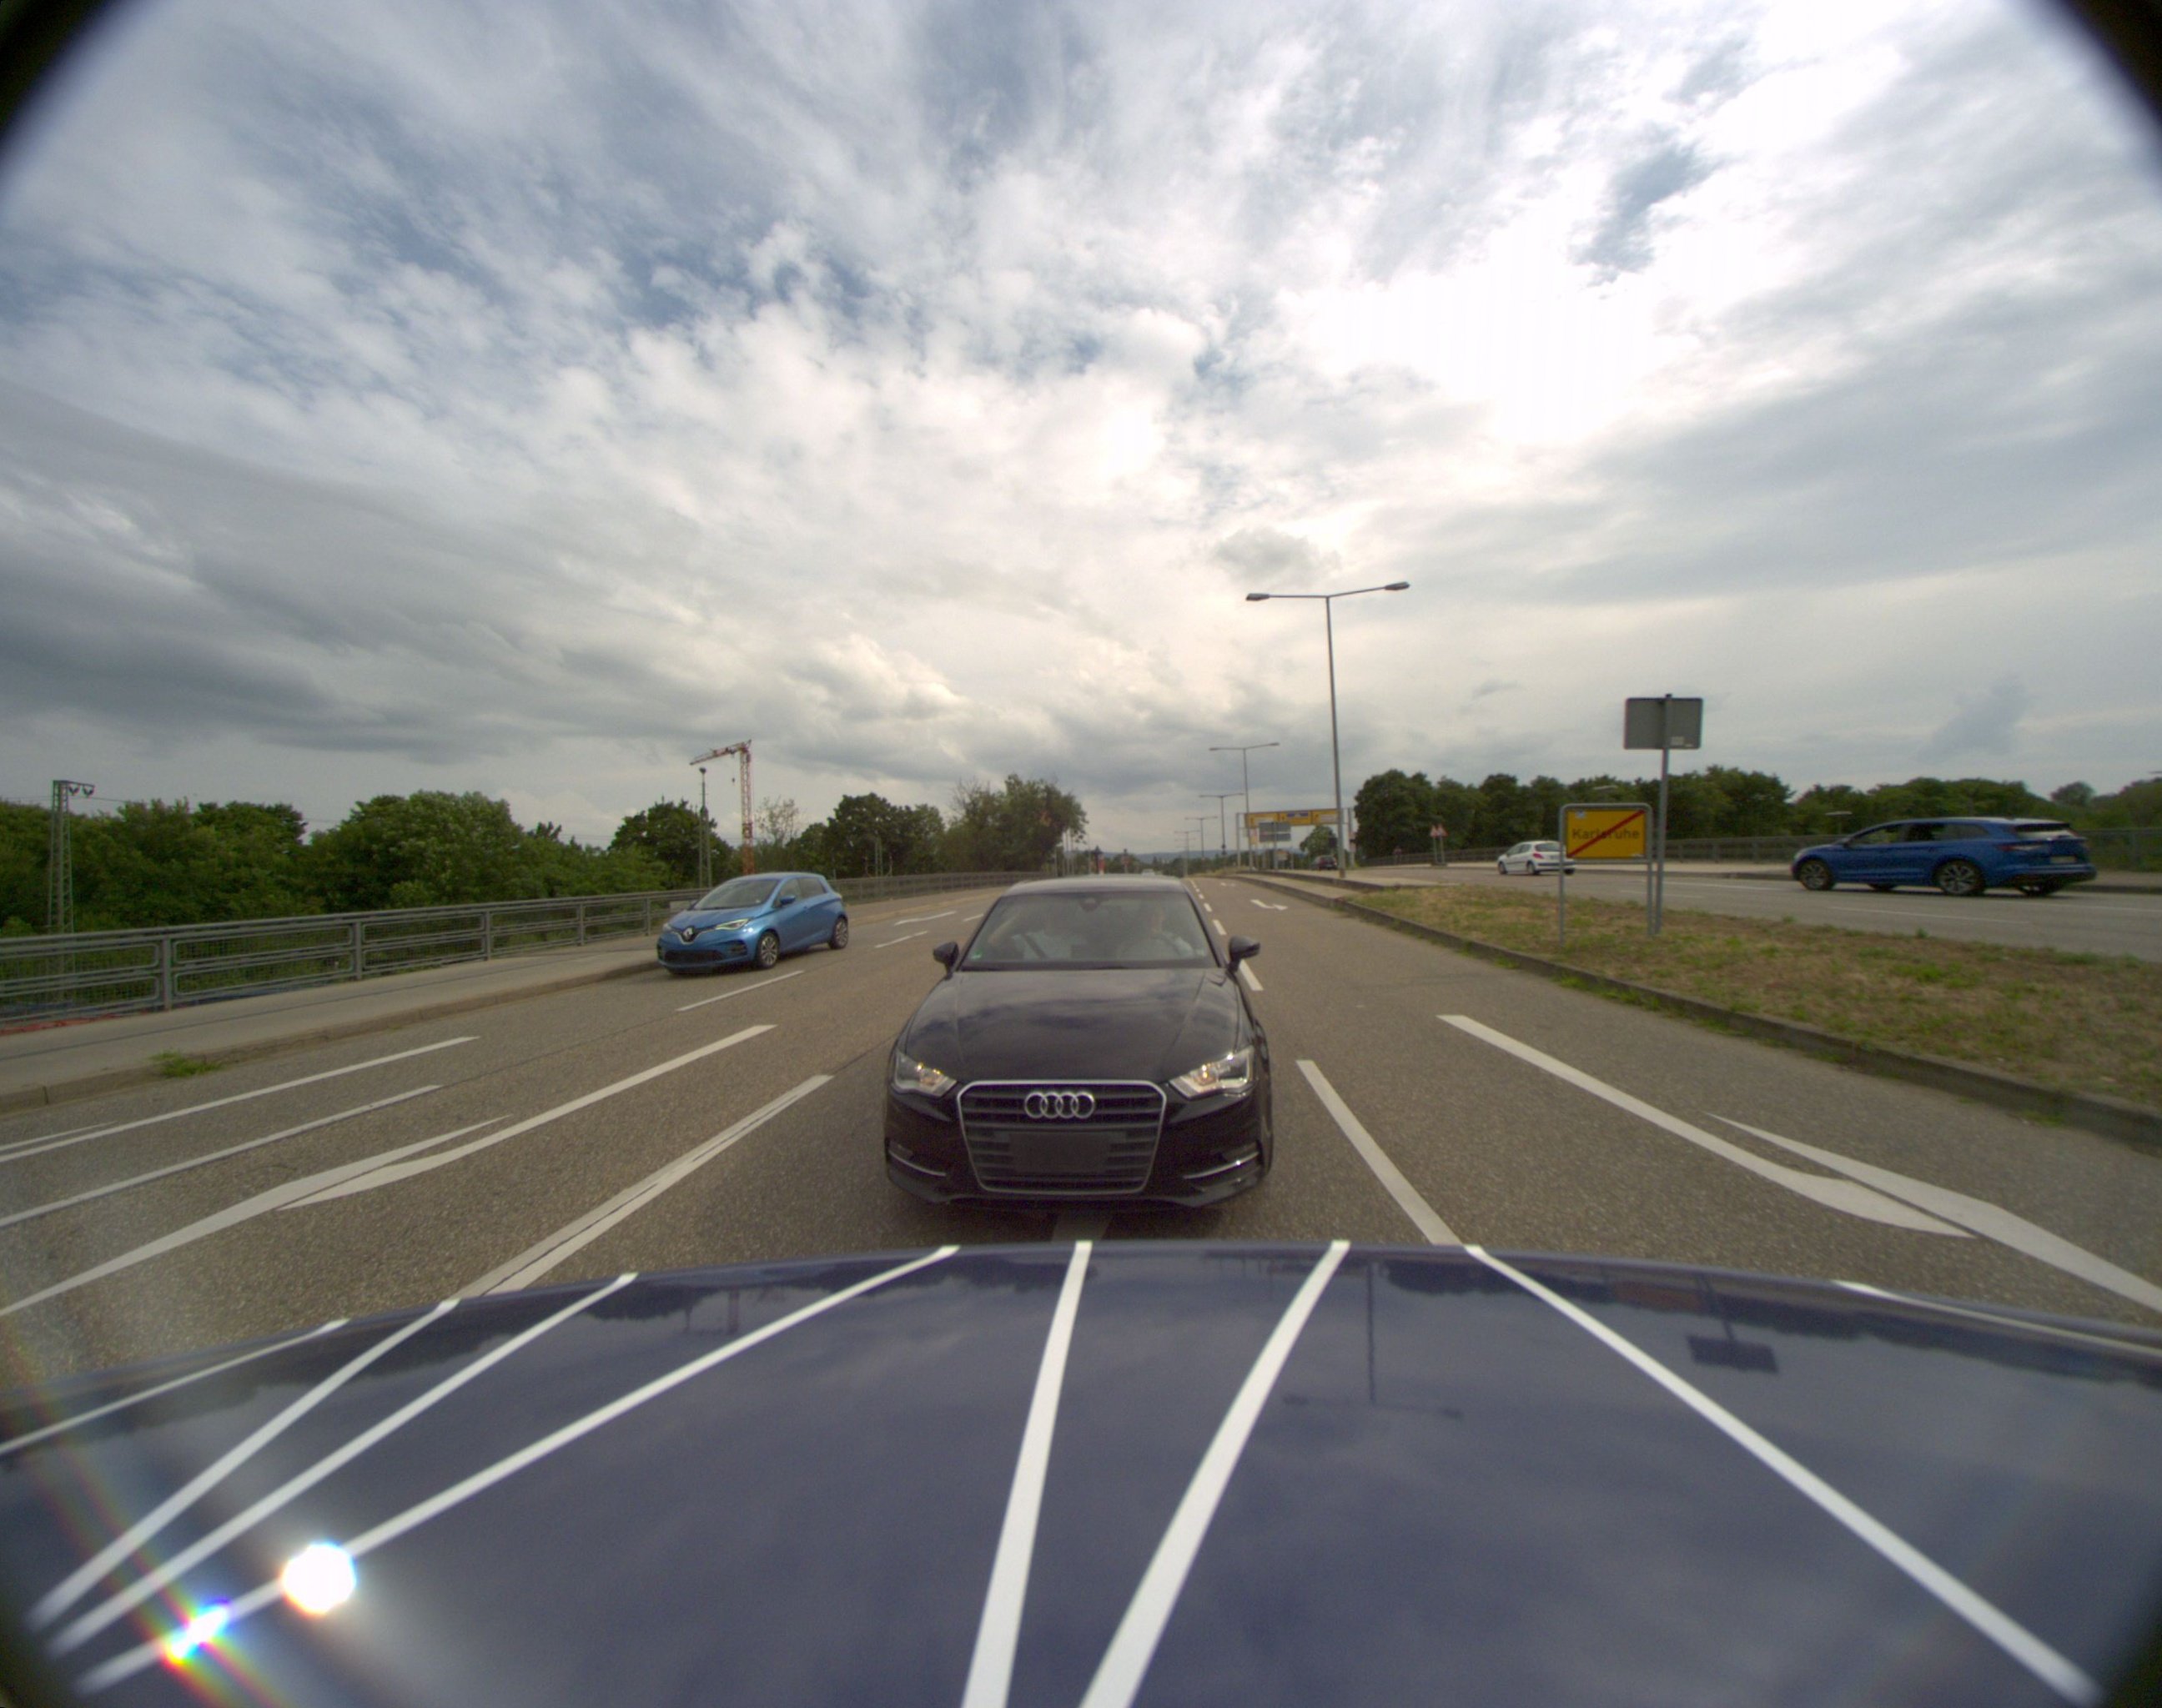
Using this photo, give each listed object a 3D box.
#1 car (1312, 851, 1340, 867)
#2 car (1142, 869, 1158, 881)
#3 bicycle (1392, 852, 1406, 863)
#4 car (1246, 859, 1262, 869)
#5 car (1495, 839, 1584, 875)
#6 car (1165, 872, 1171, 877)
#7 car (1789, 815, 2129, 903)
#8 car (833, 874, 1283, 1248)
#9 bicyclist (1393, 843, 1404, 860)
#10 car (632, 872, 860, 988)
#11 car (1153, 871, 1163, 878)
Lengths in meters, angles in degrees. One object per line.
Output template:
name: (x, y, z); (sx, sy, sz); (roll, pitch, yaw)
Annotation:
car: (23.240, 0.480, 72.109); (1.796, 1.410, 4.002); (-2, 0, 8)
car: (8.923, 2.697, 98.340); (1.860, 1.335, 4.002); (-2, 0, 7)
bicycle: (30.139, 0.307, 72.108); (0.685, 1.047, 1.995); (-3, 0, 7)
car: (27.136, 1.497, 119.231); (1.825, 1.438, 4.354); (-2, 0, 5)
car: (19.924, 0.096, 33.227); (1.729, 1.437, 3.877); (-2, 1, 4)
car: (27.690, 6.572, 241.588); (1.860, 1.335, 4.002); (-2, 0, 7)
car: (18.281, 0.086, 16.232); (1.949, 1.551, 4.461); (-2, 0, -4)
car: (0.153, 0.934, 5.528); (1.851, 1.355, 4.731); (-2, 0, 7)
bicyclist: (30.121, -0.235, 72.056); (0.685, 1.662, 0.848); (-3, 0, 7)
car: (-5.647, 1.202, 13.428); (1.724, 1.512, 3.952); (-4, 0, 9)
car: (15.126, 4.034, 149.230); (1.860, 1.335, 4.002); (-2, 0, 7)
